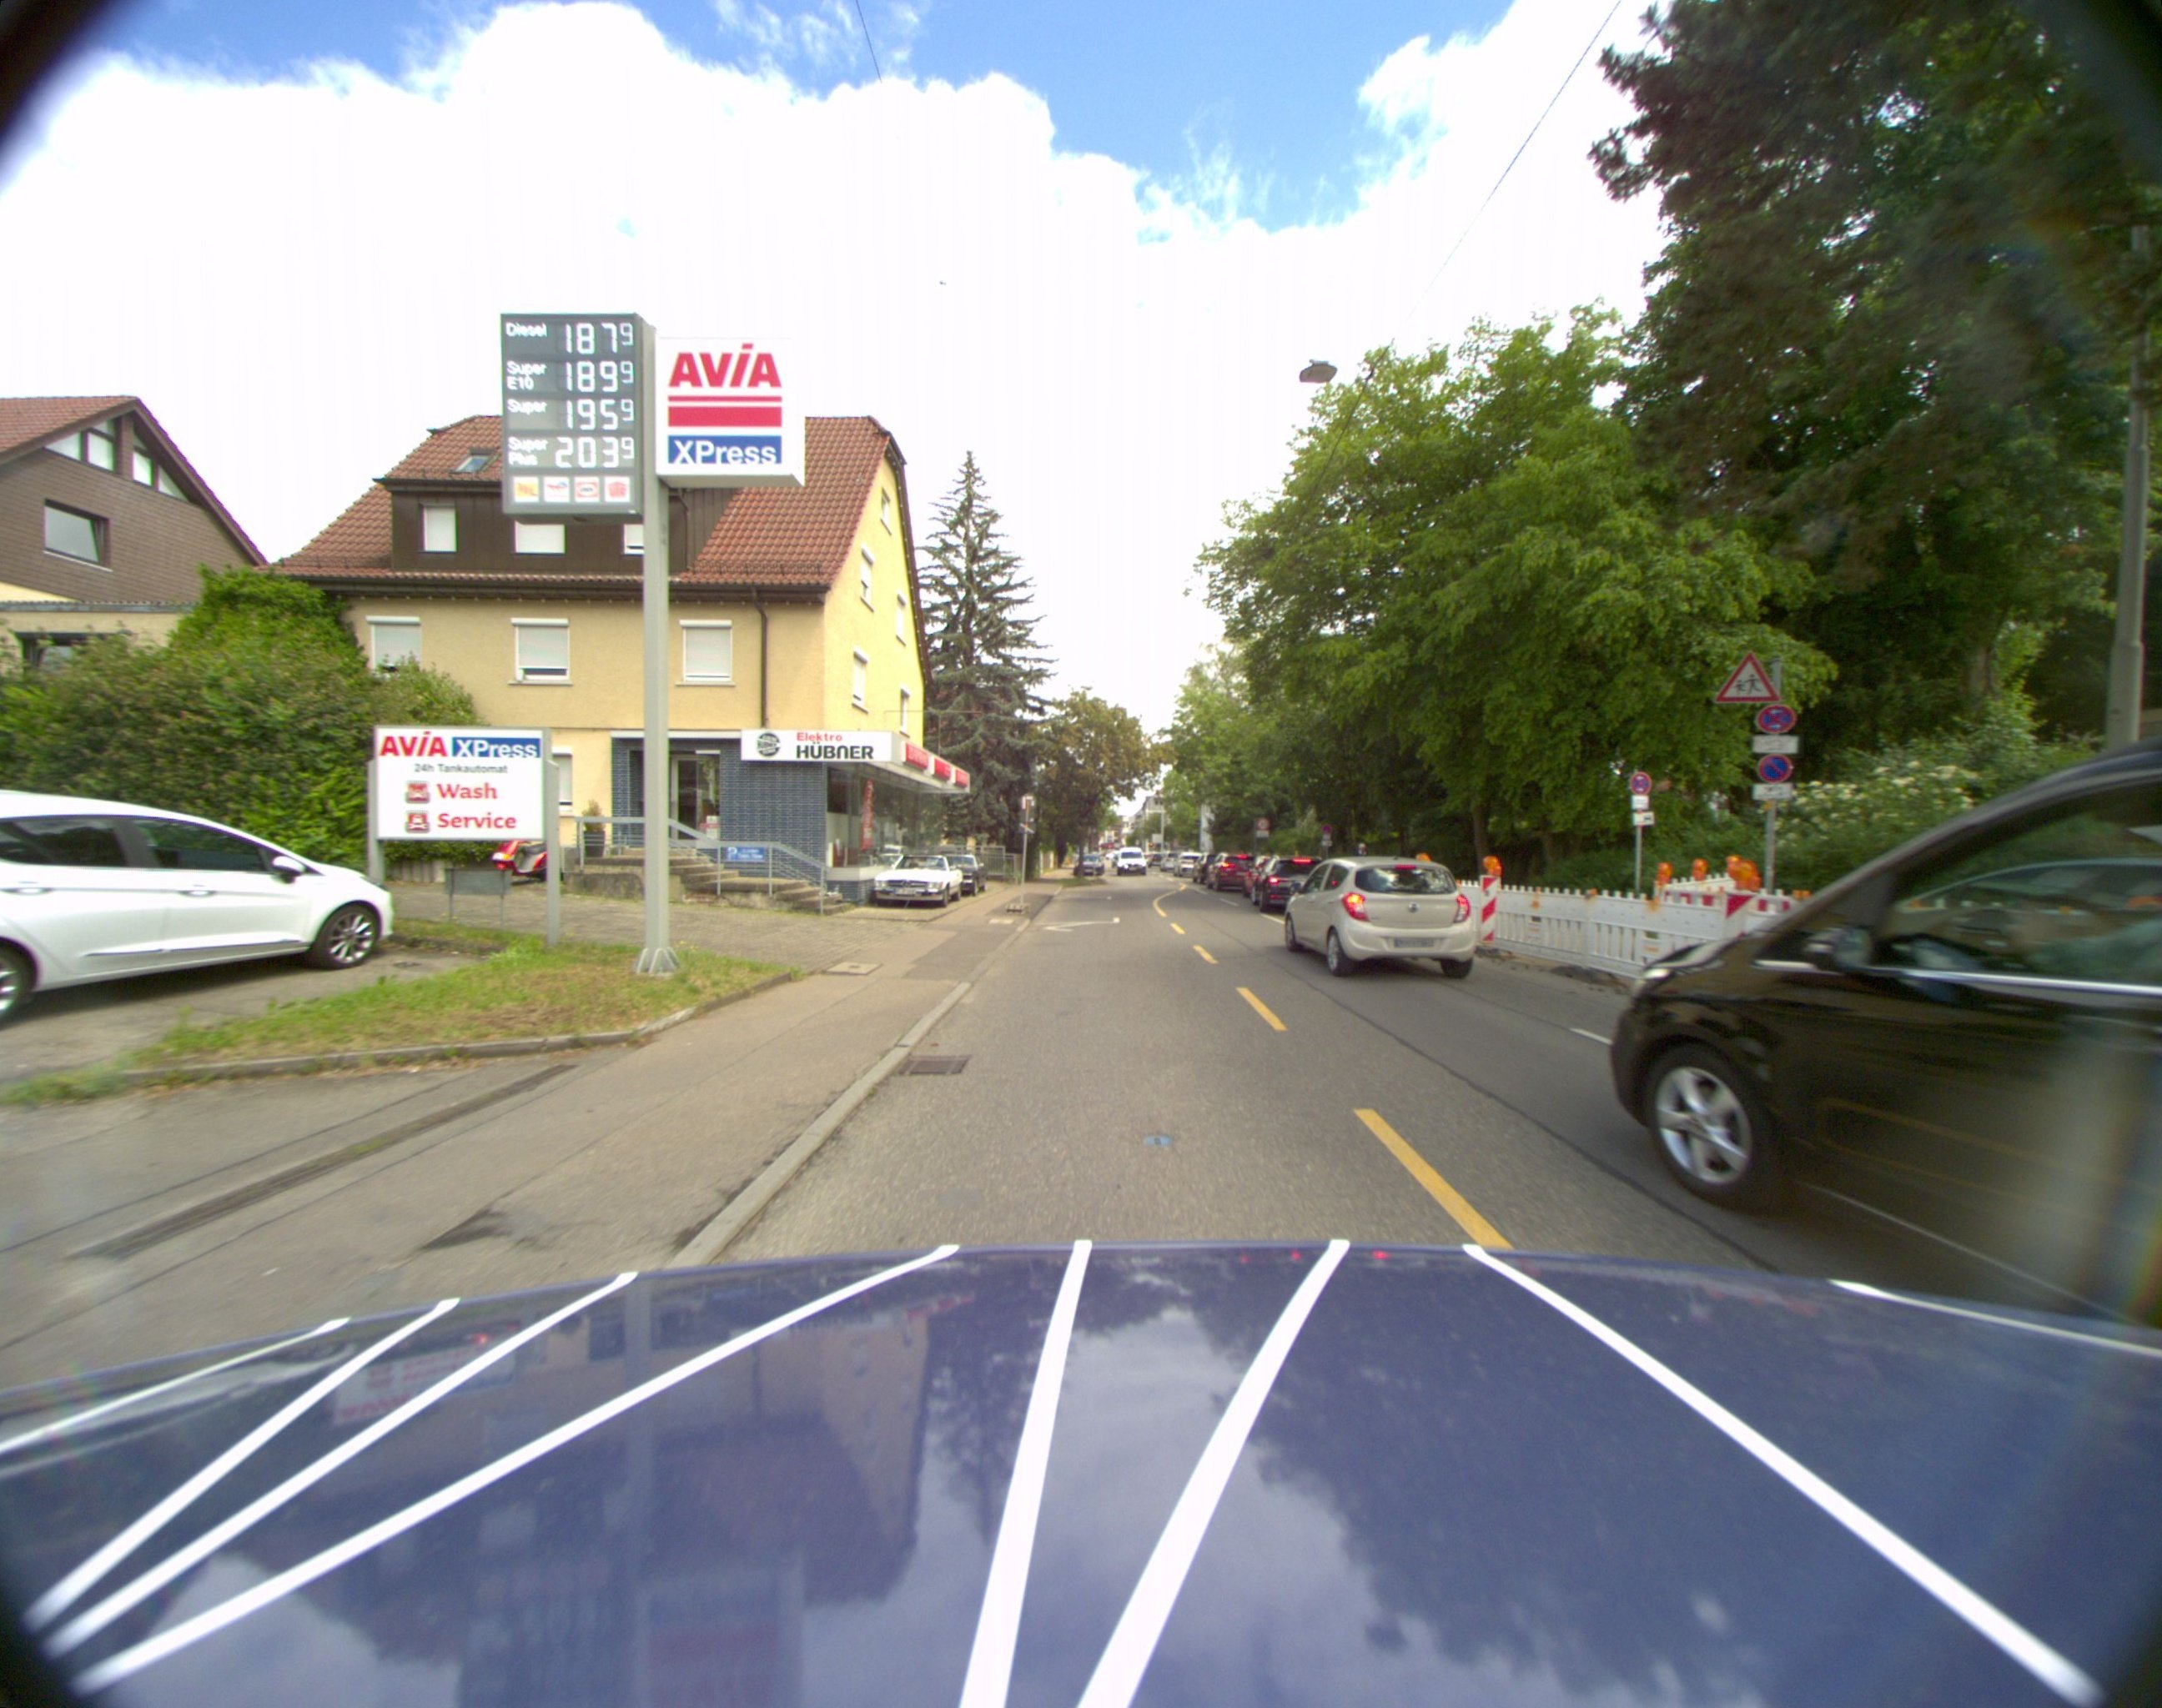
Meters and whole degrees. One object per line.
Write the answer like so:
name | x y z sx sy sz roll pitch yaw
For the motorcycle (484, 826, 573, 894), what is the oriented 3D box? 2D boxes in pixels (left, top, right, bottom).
motorcycle | -11.917 0.087 16.453 0.402 1.305 1.906 6 4 2

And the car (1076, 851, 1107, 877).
car | 0.717 0.632 50.479 1.938 1.483 4.022 -1 1 1

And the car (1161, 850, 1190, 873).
car | 7.403 0.561 59.827 1.761 1.582 4.161 2 2 1

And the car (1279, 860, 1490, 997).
car | 3.898 0.858 10.401 1.618 1.514 3.570 1 0 3

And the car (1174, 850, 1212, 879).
car | 6.939 0.598 47.287 1.761 1.582 4.003 2 2 1

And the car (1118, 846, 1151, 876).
car | 3.471 0.413 50.180 1.965 1.797 4.428 -1 1 1

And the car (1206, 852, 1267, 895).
car | 6.271 0.739 31.058 1.780 1.547 4.001 2 1 2

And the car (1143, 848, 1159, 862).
car | 8.531 0.105 92.834 1.618 1.582 4.161 2 2 1

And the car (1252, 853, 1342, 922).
car | 5.626 0.784 20.278 1.822 1.514 4.563 1 1 10

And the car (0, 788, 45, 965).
car | -10.232 0.195 4.535 1.716 1.533 4.655 4 1 -1

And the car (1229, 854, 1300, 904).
car | 6.126 0.786 25.713 1.618 1.514 3.570 2 1 3

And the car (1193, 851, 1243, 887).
car | 6.628 0.680 37.103 1.761 1.582 3.969 1 1 1

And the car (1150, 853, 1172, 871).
car | 7.925 0.809 75.763 1.761 1.582 4.161 2 2 1

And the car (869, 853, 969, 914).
car | -4.138 0.699 20.086 1.789 1.309 4.479 1 1 -2

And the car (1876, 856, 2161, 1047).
car | 9.556 0.796 6.554 1.628 1.499 3.582 -1 1 -1

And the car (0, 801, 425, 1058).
car | -7.498 0.419 5.636 1.638 1.520 4.202 4 1 -2

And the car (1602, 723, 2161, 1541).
car | 3.531 0.670 1.262 1.913 1.940 4.913 1 0 0

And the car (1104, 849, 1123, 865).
car | 3.186 0.267 75.777 1.767 1.483 3.578 -1 1 1

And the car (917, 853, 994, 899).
car | -4.034 0.656 25.097 1.789 1.276 4.315 1 1 0

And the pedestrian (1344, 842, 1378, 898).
pedestrian | 9.390 0.515 25.531 0.835 1.837 1.022 -1 2 4
